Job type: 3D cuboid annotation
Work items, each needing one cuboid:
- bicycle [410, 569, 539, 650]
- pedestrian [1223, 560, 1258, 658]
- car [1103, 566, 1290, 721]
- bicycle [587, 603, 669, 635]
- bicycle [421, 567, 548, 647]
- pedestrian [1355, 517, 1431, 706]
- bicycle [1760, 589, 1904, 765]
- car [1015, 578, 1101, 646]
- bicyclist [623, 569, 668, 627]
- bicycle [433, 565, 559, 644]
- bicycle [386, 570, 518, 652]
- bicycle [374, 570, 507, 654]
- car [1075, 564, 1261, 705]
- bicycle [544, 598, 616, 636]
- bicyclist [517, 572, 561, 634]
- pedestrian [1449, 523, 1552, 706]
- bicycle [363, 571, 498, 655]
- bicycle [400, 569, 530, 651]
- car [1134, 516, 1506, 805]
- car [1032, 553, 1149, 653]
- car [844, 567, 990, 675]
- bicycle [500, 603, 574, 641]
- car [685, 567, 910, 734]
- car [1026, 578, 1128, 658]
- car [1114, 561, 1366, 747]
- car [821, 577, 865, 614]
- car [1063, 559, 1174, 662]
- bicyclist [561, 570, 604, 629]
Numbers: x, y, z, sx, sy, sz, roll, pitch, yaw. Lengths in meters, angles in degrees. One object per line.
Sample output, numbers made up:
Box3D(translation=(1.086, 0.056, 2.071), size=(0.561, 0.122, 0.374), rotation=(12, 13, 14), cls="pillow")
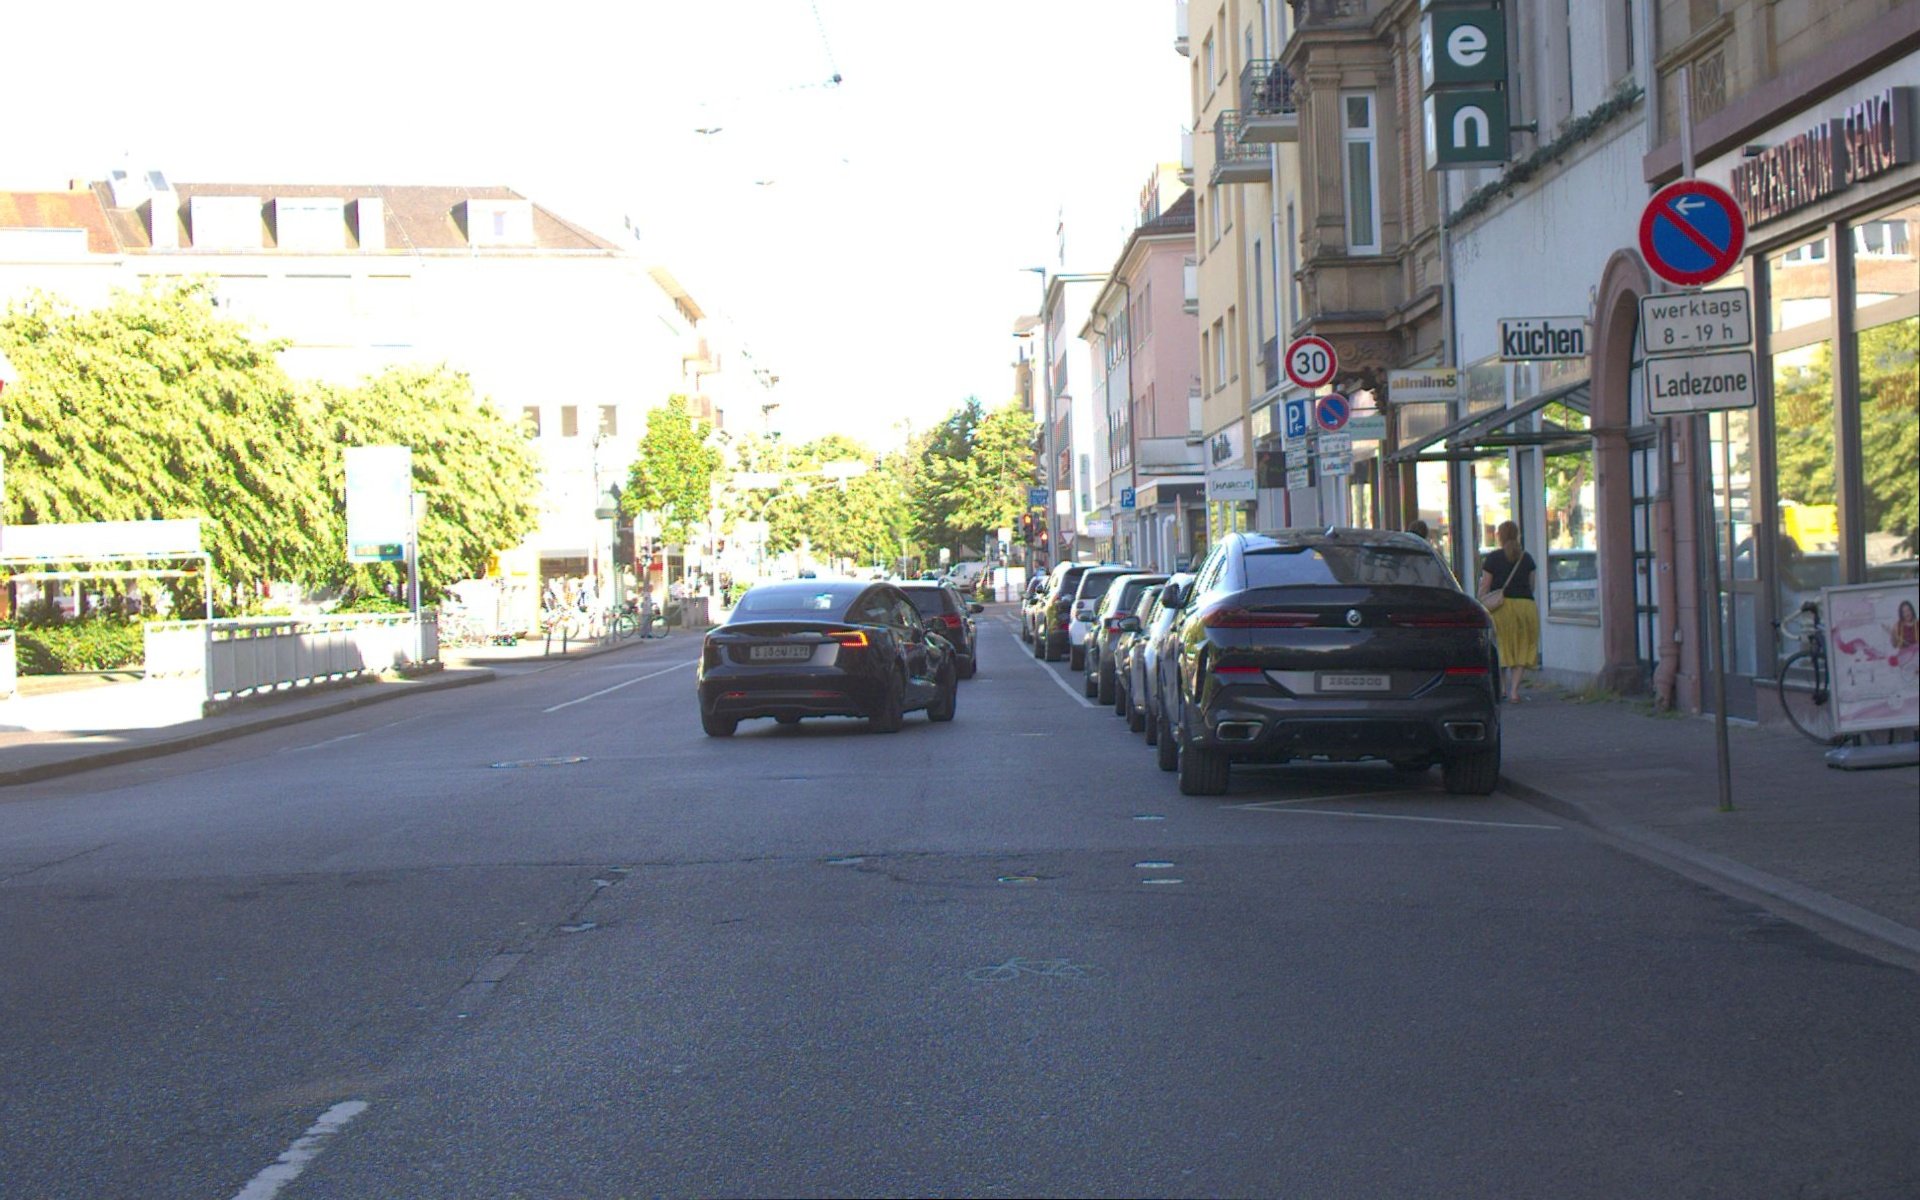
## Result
Box3D(translation=(-12.538, 0.245, 88.832), size=(3.122, 2.007, 0.908), rotation=(-1, 0, 9), cls="bicycle")
Box3D(translation=(4.712, 0.143, 57.783), size=(0.471, 1.630, 0.513), rotation=(-1, 0, 16), cls="pedestrian")
Box3D(translation=(2.322, 0.394, 34.486), size=(1.608, 1.444, 3.830), rotation=(0, 1, 0), cls="car")
Box3D(translation=(-9.759, 0.562, 101.090), size=(2.244, 0.880, 0.923), rotation=(-1, 0, 4), cls="bicycle")
Box3D(translation=(-12.427, 0.185, 89.869), size=(3.122, 2.007, 0.908), rotation=(-1, 0, 9), cls="bicycle")
Box3D(translation=(4.089, 0.108, 32.496), size=(0.620, 1.760, 0.518), rotation=(-2, 0, 3), cls="pedestrian")
Box3D(translation=(5.735, 0.486, 22.690), size=(0.358, 1.081, 1.942), rotation=(-4, 0, -1), cls="bicycle")
Box3D(translation=(2.147, 0.285, 76.289), size=(1.792, 1.455, 3.868), rotation=(0, -1, 0), cls="car")
Box3D(translation=(-9.239, -0.064, 101.049), size=(1.146, 1.680, 0.914), rotation=(-1, 0, 3), cls="bicyclist")
Box3D(translation=(-12.272, 0.126, 90.911), size=(3.122, 2.007, 0.908), rotation=(-1, 0, 9), cls="bicycle")
Box3D(translation=(-12.805, 0.280, 86.705), size=(3.122, 2.007, 0.908), rotation=(-1, 0, 9), cls="bicycle")
Box3D(translation=(-12.943, 0.300, 85.715), size=(3.122, 2.007, 0.908), rotation=(-1, 0, 9), cls="bicycle")
Box3D(translation=(2.370, 0.358, 40.031), size=(1.839, 1.541, 4.228), rotation=(0, 1, -1), cls="car")
Box3D(translation=(-10.950, 0.483, 99.107), size=(2.011, 1.018, 0.762), rotation=(-1, 0, -3), cls="bicycle")
Box3D(translation=(-11.839, 0.082, 96.723), size=(1.146, 1.680, 0.919), rotation=(-1, 0, -3), cls="bicyclist")
Box3D(translation=(5.096, 0.136, 32.452), size=(0.801, 1.669, 0.589), rotation=(-4, 0, 3), cls="pedestrian")
Box3D(translation=(-13.057, 0.320, 84.759), size=(3.122, 2.007, 0.908), rotation=(-1, 0, 9), cls="bicycle")
Box3D(translation=(-12.638, 0.249, 87.750), size=(3.122, 2.007, 0.908), rotation=(-1, 0, 9), cls="bicycle")
Box3D(translation=(2.280, 0.332, 23.020), size=(1.973, 1.719, 4.824), rotation=(0, 1, 0), cls="car")
Box3D(translation=(2.199, 0.073, 58.918), size=(1.716, 1.630, 4.084), rotation=(0, -1, -2), cls="car")
Box3D(translation=(-0.590, 0.277, 50.480), size=(1.935, 1.482, 4.271), rotation=(-1, 0, 2), cls="car")
Box3D(translation=(-11.895, 0.610, 96.722), size=(2.011, 1.018, 0.888), rotation=(-1, 0, -3), cls="bicycle")
Box3D(translation=(-1.500, 0.472, 32.949), size=(1.995, 1.475, 4.495), rotation=(0, -1, -1), cls="car")
Box3D(translation=(2.195, 0.352, 65.520), size=(1.792, 1.455, 4.084), rotation=(0, -1, 0), cls="car")
Box3D(translation=(2.356, 0.414, 29.891), size=(1.839, 1.482, 4.184), rotation=(0, 1, 0), cls="car")
Box3D(translation=(-5.936, -0.248, 174.311), size=(1.993, 1.766, 4.000), rotation=(-1, 1, 1), cls="car")
Box3D(translation=(2.429, 0.144, 53.185), size=(1.613, 1.541, 2.855), rotation=(0, 1, 1), cls="car")
Box3D(translation=(-10.885, -0.022, 99.109), size=(1.146, 1.680, 0.819), rotation=(-1, 0, -3), cls="bicyclist")
